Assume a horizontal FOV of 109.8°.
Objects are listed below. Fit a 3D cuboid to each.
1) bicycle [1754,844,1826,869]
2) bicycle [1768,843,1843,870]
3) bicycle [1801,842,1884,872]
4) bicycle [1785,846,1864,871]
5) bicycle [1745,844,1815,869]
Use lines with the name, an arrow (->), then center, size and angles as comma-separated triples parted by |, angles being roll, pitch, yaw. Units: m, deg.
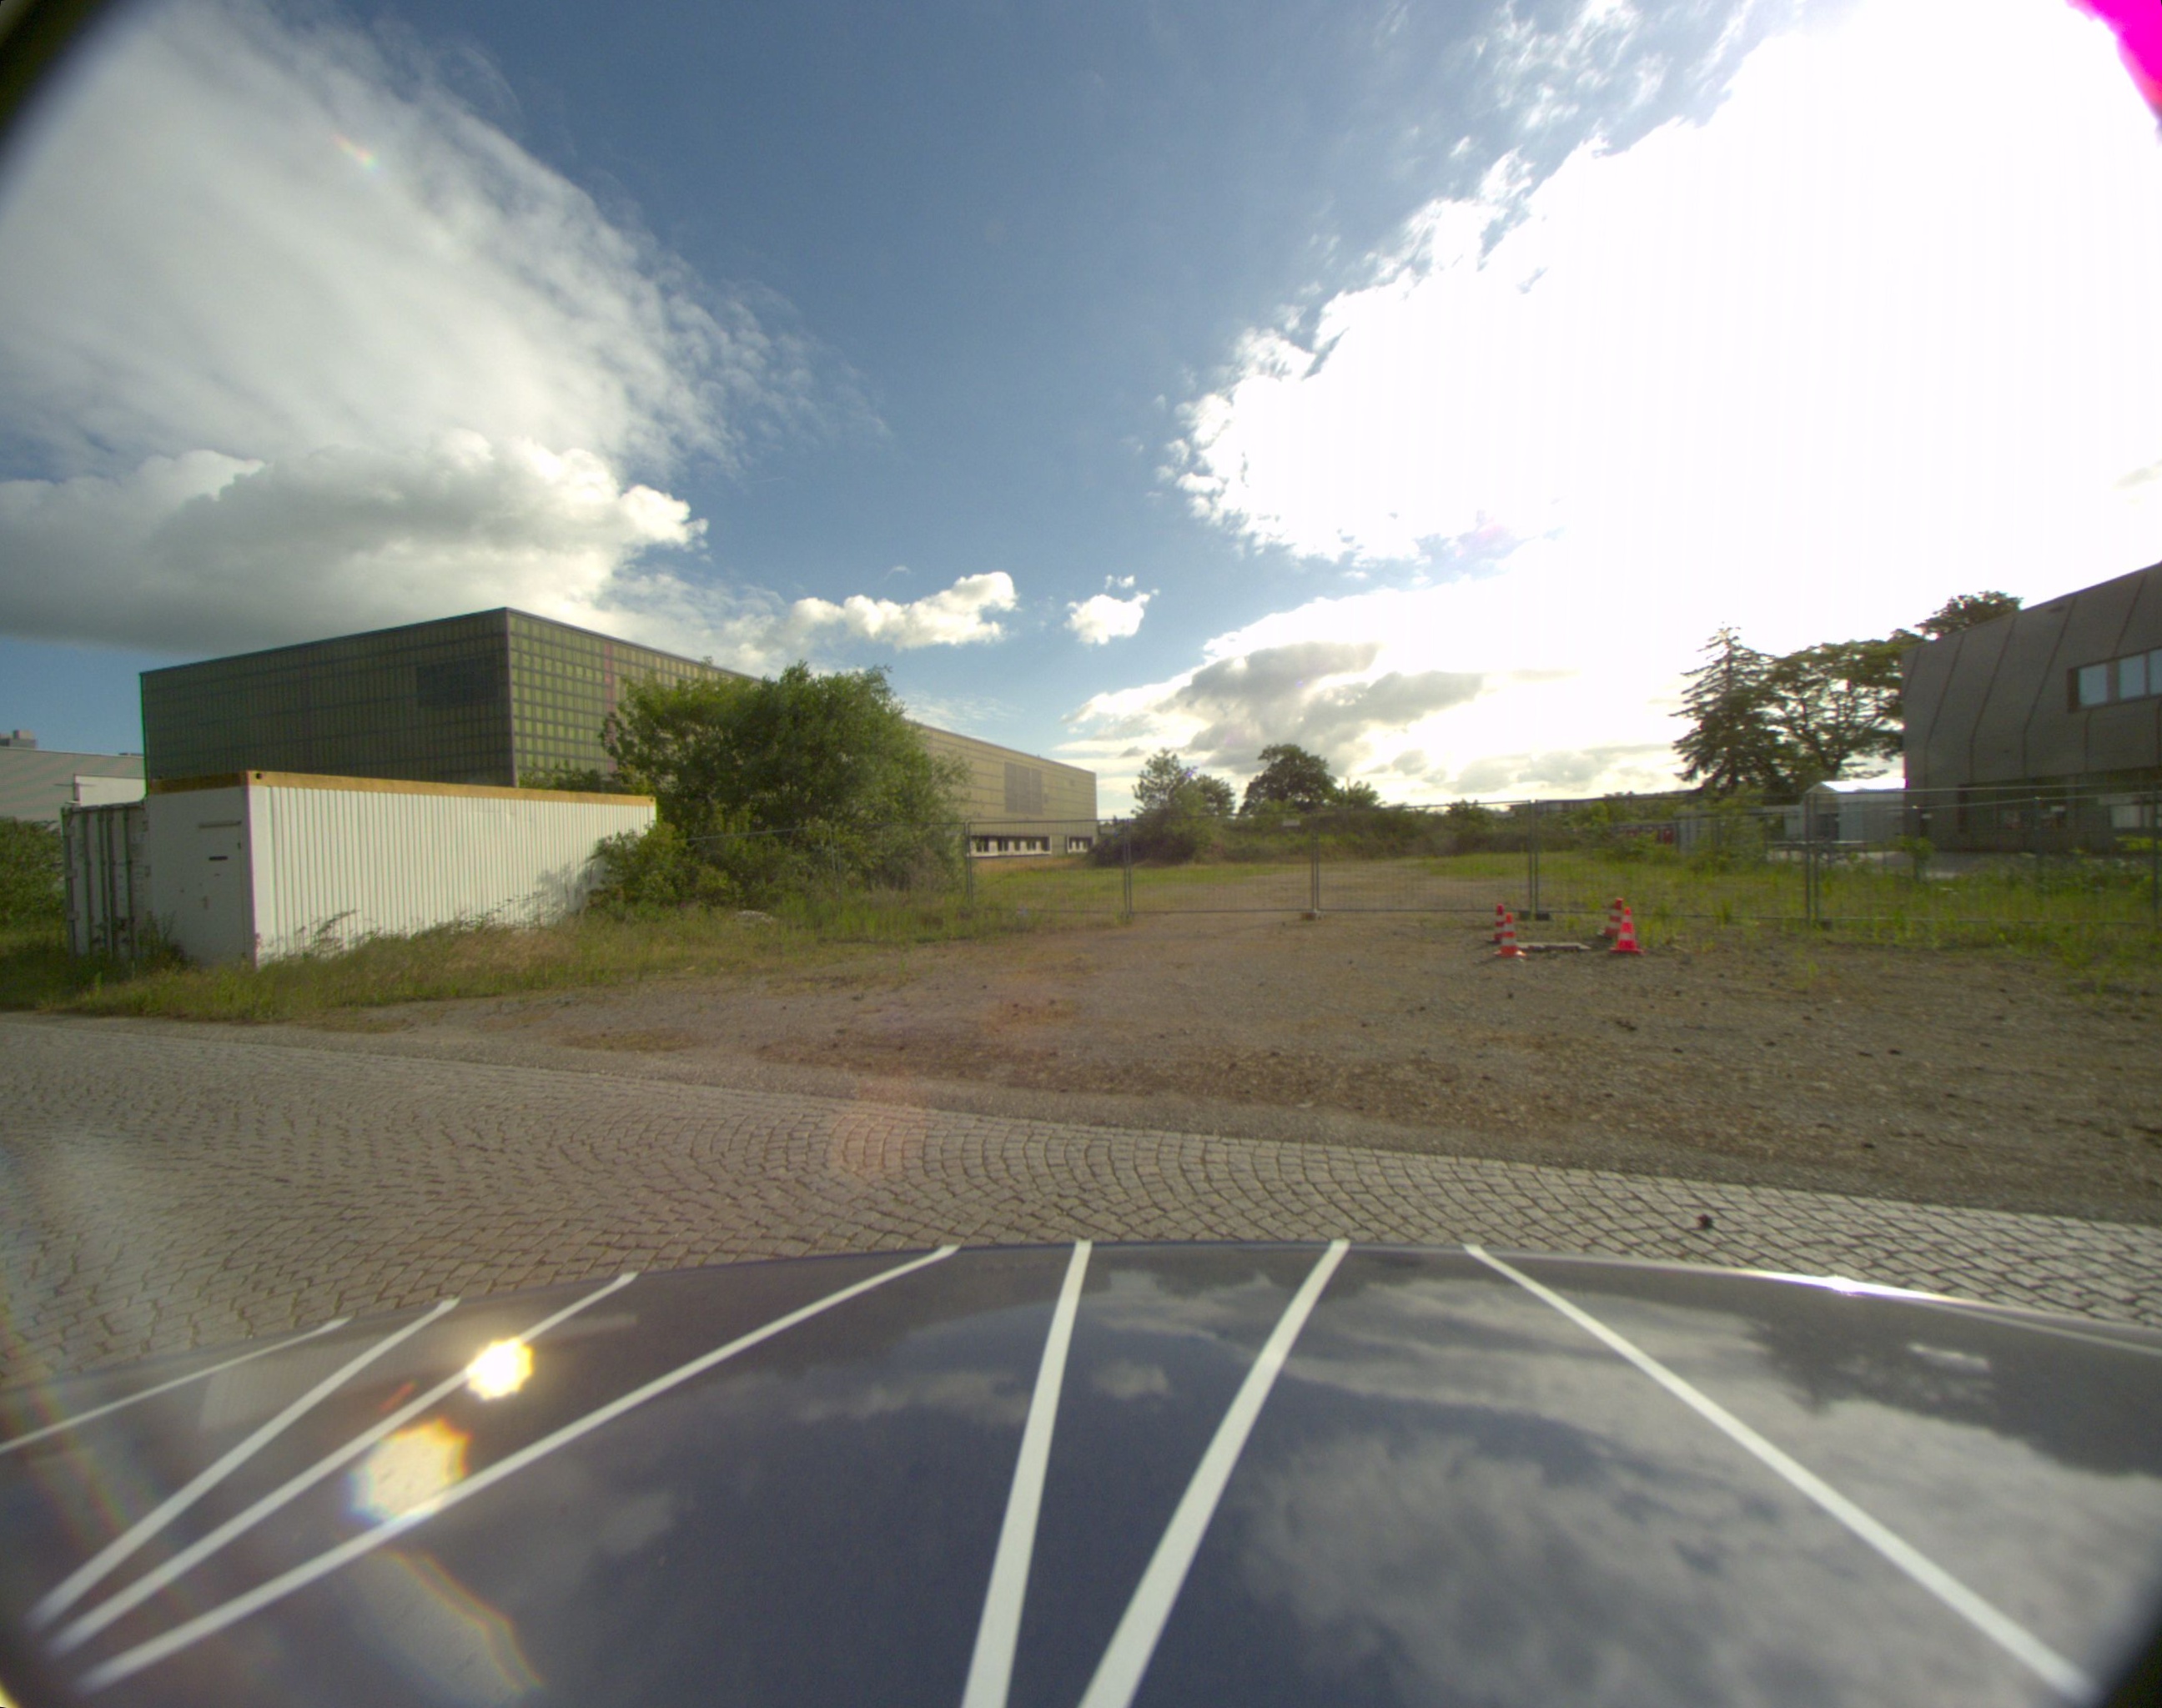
bicycle -> 30.413, 0.106, 32.640 | 2.065, 1.038, 0.947 | -1, 1, 17
bicycle -> 30.066, 0.101, 31.573 | 2.065, 1.038, 0.947 | -1, 1, 17
bicycle -> 29.431, 0.116, 29.399 | 2.065, 1.081, 0.947 | -1, 1, 17
bicycle -> 29.892, 0.177, 30.569 | 2.065, 0.916, 0.947 | -1, 1, 17
bicycle -> 30.860, 0.106, 33.562 | 2.065, 1.038, 0.947 | -1, 1, 17
